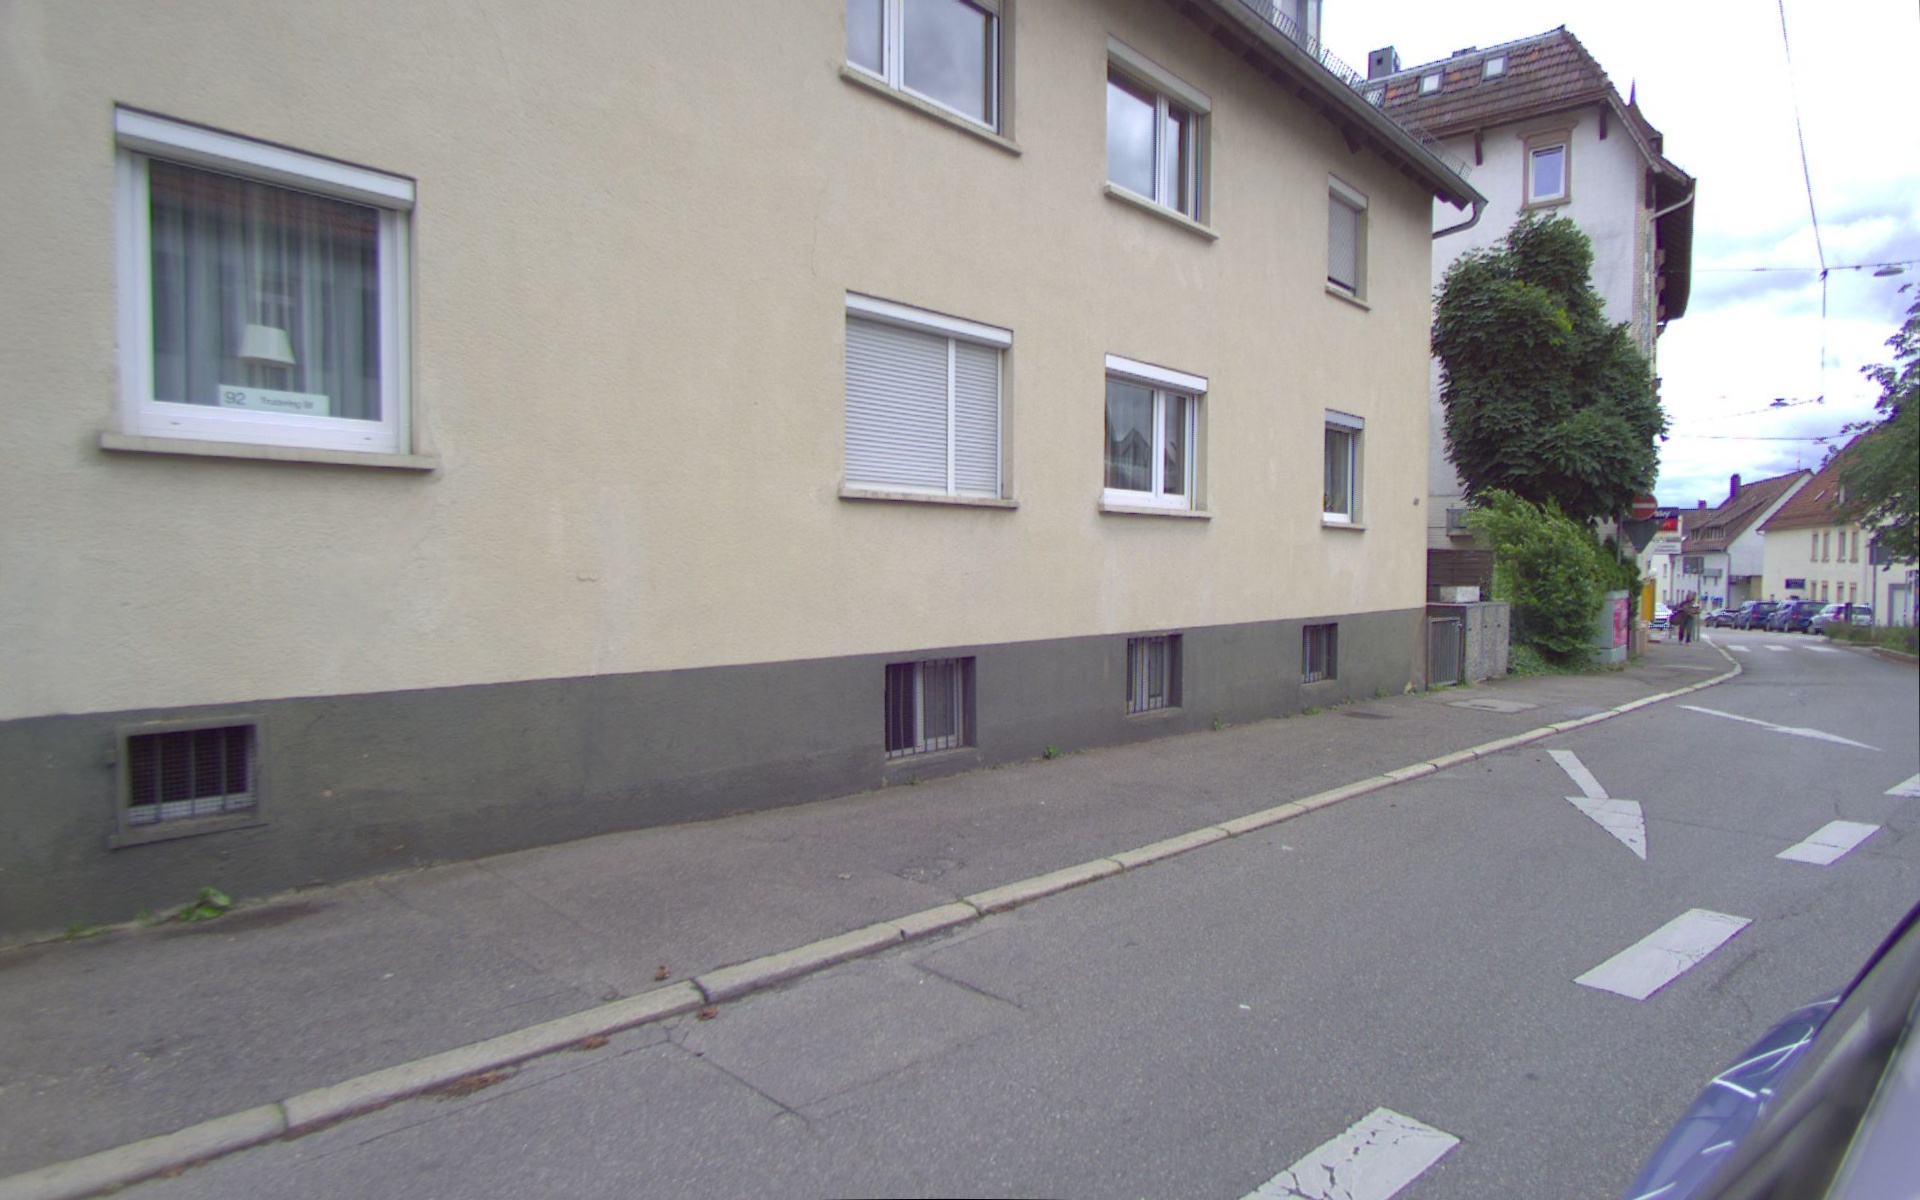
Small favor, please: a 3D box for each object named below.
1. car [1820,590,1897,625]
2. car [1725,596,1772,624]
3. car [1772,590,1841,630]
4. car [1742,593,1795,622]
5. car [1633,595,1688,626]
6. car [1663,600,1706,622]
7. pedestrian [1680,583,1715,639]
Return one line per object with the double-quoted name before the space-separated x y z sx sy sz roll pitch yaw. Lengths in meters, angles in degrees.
"car" 44.652 0.404 50.378 1.757 1.638 3.965 1 -1 25
"car" 52.699 0.696 67.713 1.705 1.753 3.963 1 -1 26
"car" 47.065 0.569 56.376 1.757 1.967 4.286 4 1 25
"car" 50.285 0.478 63.009 1.705 1.753 3.963 1 -1 26
"car" 37.621 0.577 54.418 1.758 1.498 3.795 4 1 26
"car" 61.038 0.942 85.345 2.260 1.752 3.963 1 -1 26
"pedestrian" 23.355 0.346 32.051 0.855 1.755 1.009 1 -1 34
